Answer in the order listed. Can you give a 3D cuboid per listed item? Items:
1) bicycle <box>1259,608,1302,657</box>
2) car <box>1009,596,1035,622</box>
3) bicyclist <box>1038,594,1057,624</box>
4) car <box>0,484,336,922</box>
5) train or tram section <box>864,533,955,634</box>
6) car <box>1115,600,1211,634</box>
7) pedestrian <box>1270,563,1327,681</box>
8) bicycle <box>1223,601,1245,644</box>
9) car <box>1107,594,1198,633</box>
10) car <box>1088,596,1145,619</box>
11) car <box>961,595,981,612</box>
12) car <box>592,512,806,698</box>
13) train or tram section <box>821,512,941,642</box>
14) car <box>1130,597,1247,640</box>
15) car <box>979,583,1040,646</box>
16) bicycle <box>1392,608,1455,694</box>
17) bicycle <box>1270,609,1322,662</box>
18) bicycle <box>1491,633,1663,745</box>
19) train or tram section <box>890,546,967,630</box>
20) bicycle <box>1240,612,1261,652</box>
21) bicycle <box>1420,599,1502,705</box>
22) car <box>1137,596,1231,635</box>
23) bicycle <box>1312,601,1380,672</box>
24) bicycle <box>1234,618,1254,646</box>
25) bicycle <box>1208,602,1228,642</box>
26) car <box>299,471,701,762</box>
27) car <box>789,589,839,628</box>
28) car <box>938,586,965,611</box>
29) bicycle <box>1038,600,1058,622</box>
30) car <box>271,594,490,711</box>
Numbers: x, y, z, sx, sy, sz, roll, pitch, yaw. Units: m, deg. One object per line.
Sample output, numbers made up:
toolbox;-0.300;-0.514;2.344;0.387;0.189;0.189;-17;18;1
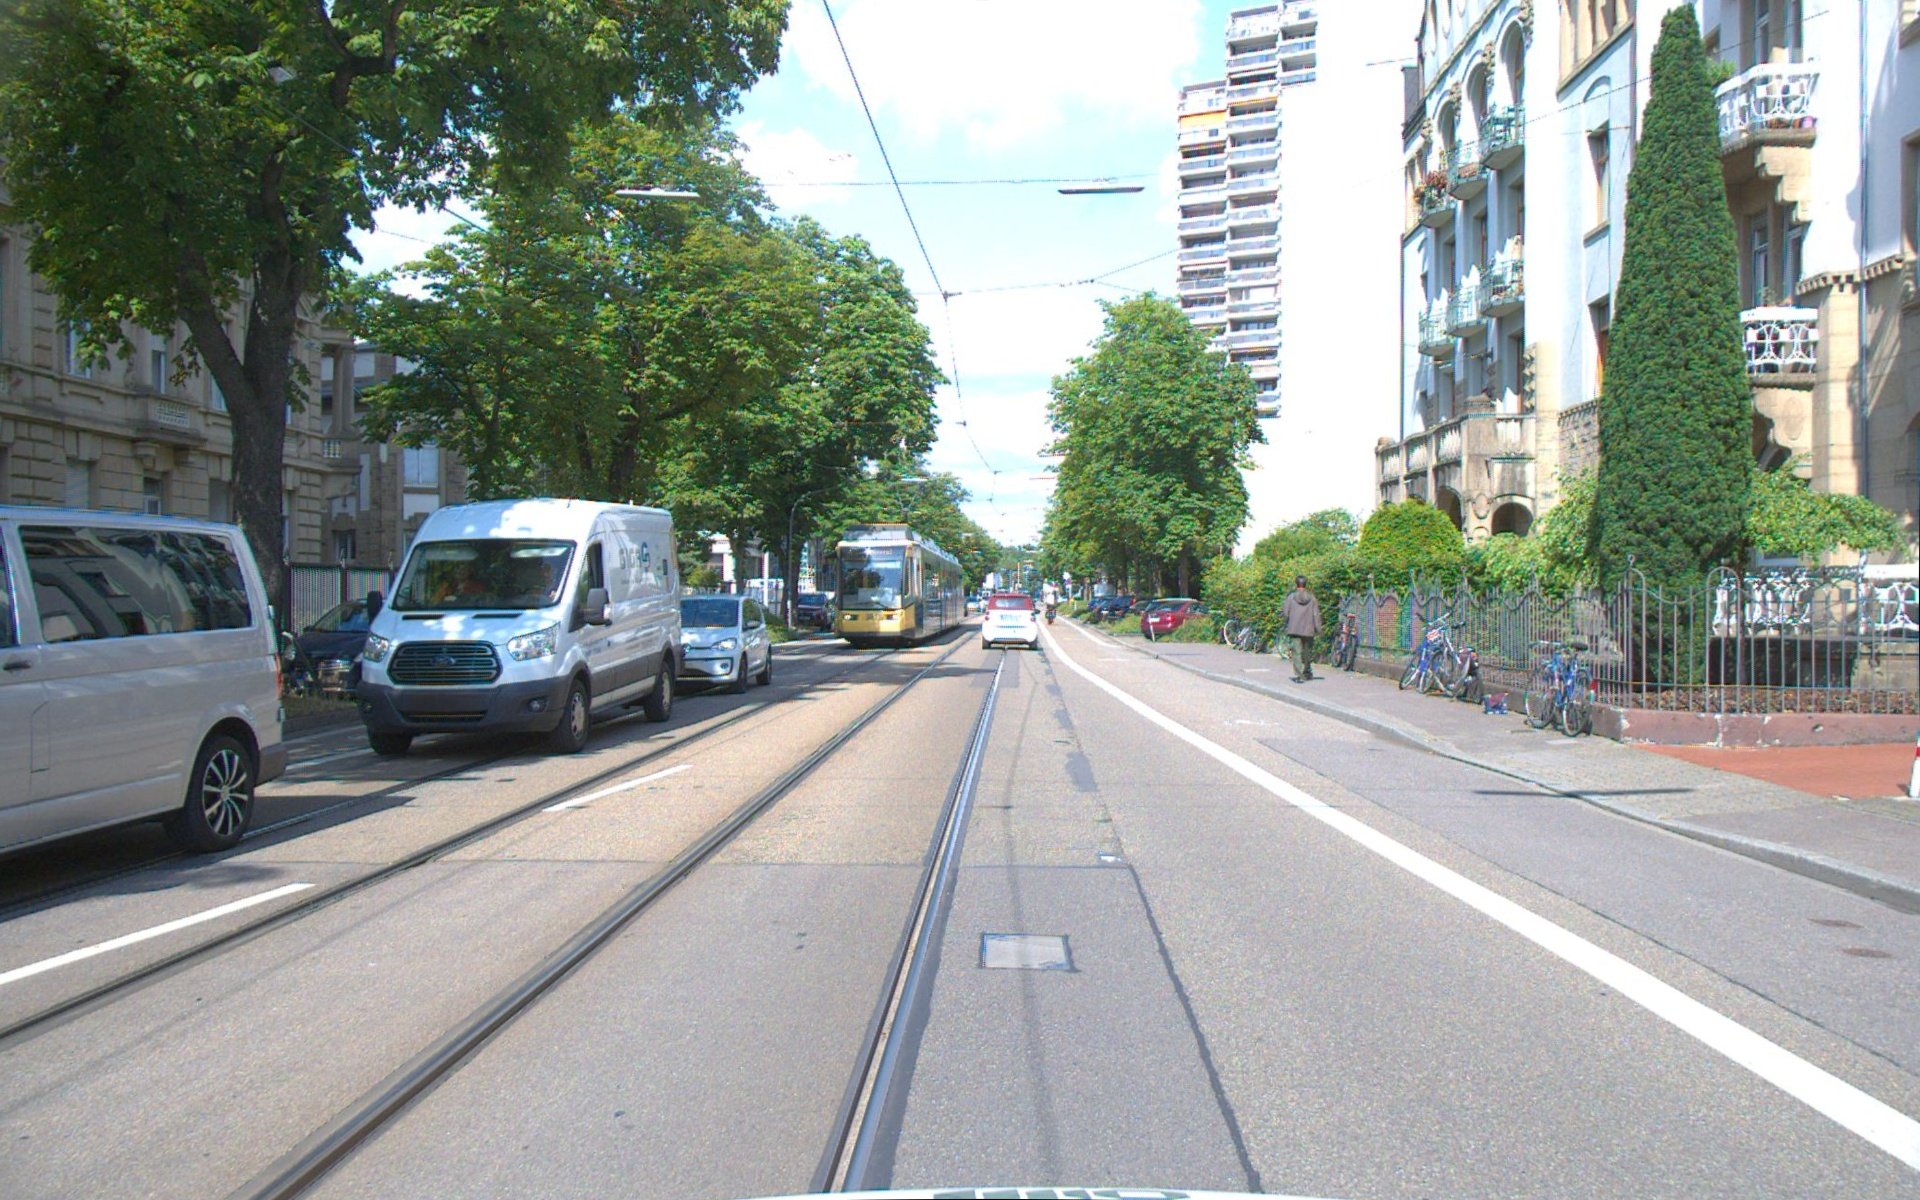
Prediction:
bicycle;6.996;0.697;36.186;0.599;1.006;1.872;-2;0;2
car;4.041;0.552;107.533;1.631;1.653;3.621;0;0;2
bicyclist;4.674;0.456;87.969;0.871;1.555;1.086;2;0;8
car;-5.291;0.475;8.361;1.944;1.997;5.182;-1;0;5
train or tram section;-1.787;-0.540;63.546;2.597;3.448;11.476;-2;0;2
car;8.807;0.737;71.538;4.141;1.373;1.875;2;0;-43
pedestrian;5.503;0.355;26.902;0.772;1.894;0.579;0;0;-5
bicycle;7.458;0.614;45.006;0.273;1.128;2.011;-3;0;2
car;8.672;0.618;74.482;3.962;1.602;1.878;2;0;-40
car;10.516;0.508;110.778;3.969;1.512;1.590;-1;0;-44
car;1.073;0.341;154.759;1.736;1.441;3.853;-3;0;1
car;-3.877;0.056;25.910;2.268;2.551;6.364;0;0;1
train or tram section;-2.248;-0.590;51.686;2.597;3.496;12.318;-2;0;2
car;8.081;0.635;58.272;4.122;1.448;1.839;0;0;-41
car;1.443;0.411;47.188;1.630;1.653;3.622;2;0;3
bicycle;6.662;0.707;23.825;0.441;1.142;1.845;-2;0;3
bicycle;6.839;0.710;33.789;0.598;1.013;2.363;-3;0;2
bicycle;6.488;0.898;17.601;0.587;0.977;3.066;-3;0;-1
train or tram section;-1.294;-0.467;76.246;2.597;3.414;14.112;-2;0;2
bicycle;7.291;0.800;41.543;0.268;0.922;1.669;-3;1;2
bicycle;6.450;0.639;21.368;0.442;1.283;1.844;-2;0;-1
car;8.809;0.608;64.817;3.969;1.486;1.511;1;0;-44
bicycle;7.052;0.642;30.311;0.725;1.252;2.516;0;0;1
bicycle;7.395;0.836;43.094;0.273;0.689;1.559;-3;0;2
bicycle;7.572;0.633;48.523;0.273;1.128;2.011;-3;0;2
car;-4.553;0.096;17.741;2.267;2.551;6.366;0;1;3
car;-6.648;0.396;75.617;1.714;1.694;4.721;2;0;1
car;-0.594;-0.099;120.912;1.788;1.757;4.392;2;0;1
bicycle;4.660;0.596;87.796;0.856;1.145;2.137;2;0;8
car;-8.582;0.716;24.894;1.592;1.498;4.206;2;1;3
